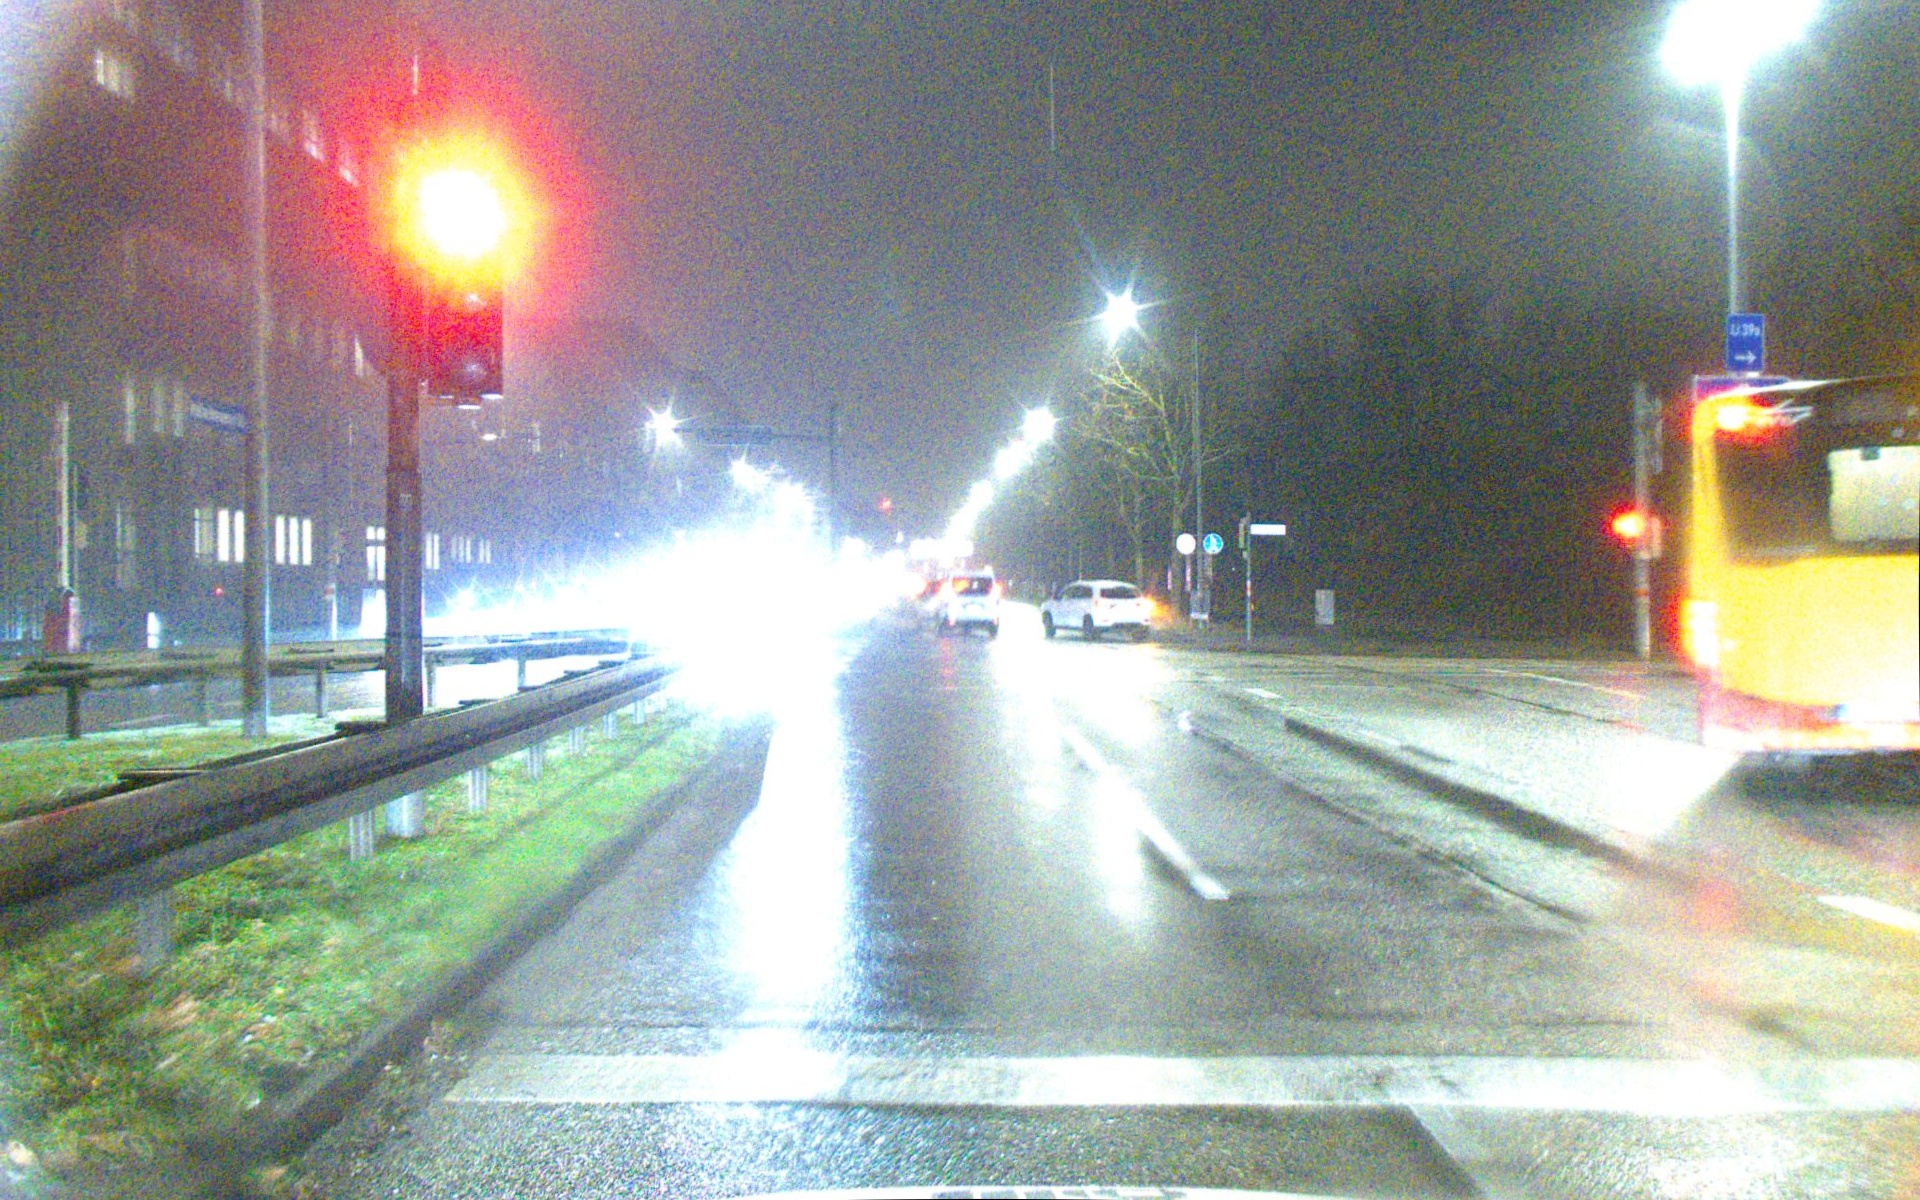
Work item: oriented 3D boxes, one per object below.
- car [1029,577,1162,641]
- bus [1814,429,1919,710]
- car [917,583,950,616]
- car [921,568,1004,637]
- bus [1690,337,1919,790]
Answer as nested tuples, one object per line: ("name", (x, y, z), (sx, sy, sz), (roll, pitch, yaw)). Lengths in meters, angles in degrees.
("car", (3.761, 0.244, 46.768), (1.769, 1.708, 4.391), (1, 0, -26))
("bus", (14.937, -0.296, 21.262), (9.642, 3.178, 2.746), (1, 0, -34))
("car", (-1.833, 0.000, 113.185), (2.092, 2.182, 4.925), (1, 0, -3))
("car", (0.013, 0.075, 49.180), (1.758, 1.907, 4.618), (1, 0, -9))
("bus", (9.158, -0.253, 15.822), (2.718, 3.178, 9.739), (1, 0, 31))
